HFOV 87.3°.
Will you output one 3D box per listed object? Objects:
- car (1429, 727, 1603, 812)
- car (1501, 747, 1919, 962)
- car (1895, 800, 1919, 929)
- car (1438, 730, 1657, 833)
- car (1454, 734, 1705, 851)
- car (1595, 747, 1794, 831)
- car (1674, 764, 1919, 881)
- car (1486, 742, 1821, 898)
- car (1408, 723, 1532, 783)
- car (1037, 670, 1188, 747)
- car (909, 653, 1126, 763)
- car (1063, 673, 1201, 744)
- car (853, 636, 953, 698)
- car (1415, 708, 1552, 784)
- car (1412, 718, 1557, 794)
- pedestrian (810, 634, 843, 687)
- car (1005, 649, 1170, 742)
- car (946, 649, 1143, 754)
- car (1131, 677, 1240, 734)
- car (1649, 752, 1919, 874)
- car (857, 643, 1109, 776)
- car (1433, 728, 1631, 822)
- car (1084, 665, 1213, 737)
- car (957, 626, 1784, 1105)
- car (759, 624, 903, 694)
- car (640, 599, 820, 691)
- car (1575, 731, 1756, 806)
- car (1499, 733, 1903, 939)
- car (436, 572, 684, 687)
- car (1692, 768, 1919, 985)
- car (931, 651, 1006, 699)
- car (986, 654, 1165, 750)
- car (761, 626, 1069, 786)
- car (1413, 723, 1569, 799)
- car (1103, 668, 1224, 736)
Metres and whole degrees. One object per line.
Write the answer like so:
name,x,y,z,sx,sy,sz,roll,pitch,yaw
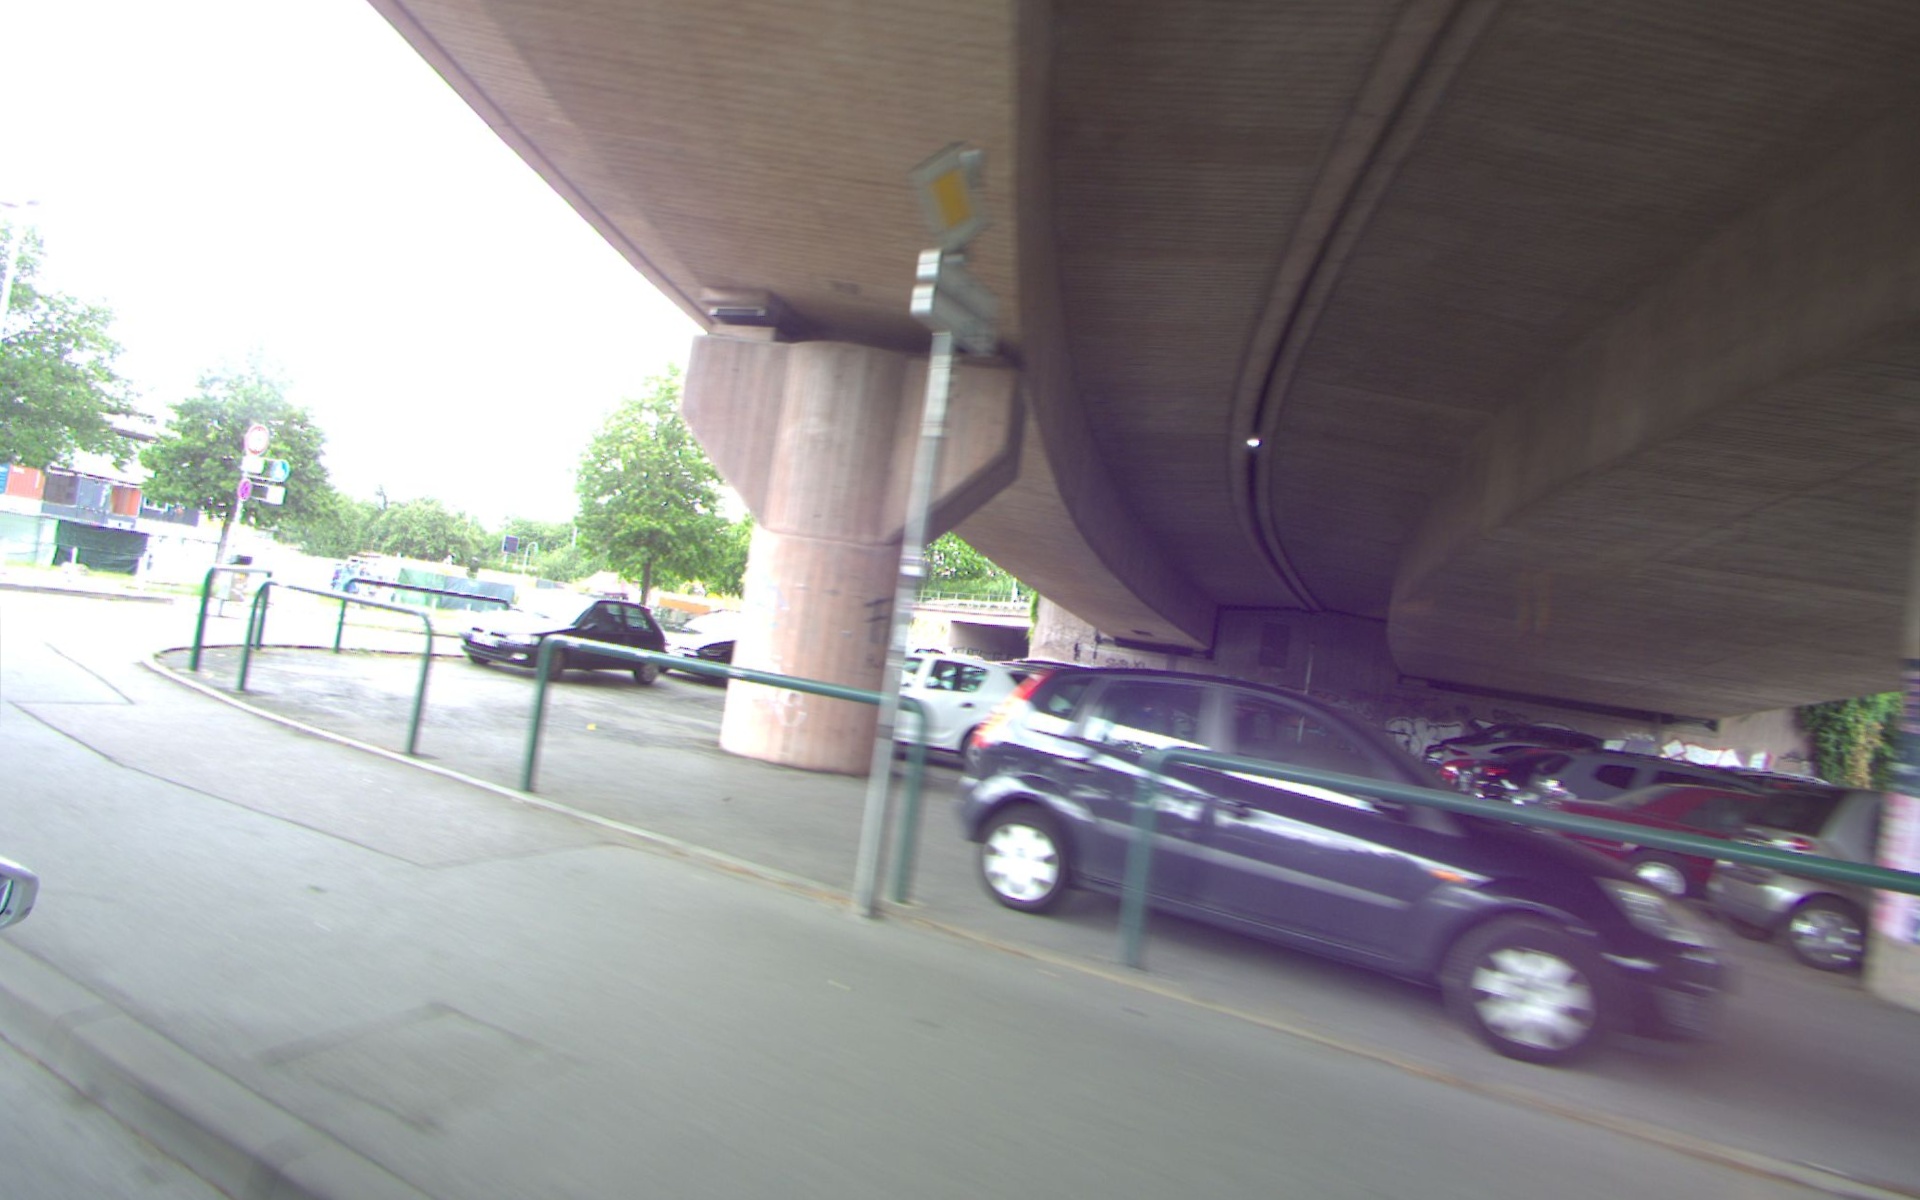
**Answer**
car,14.252,4.318,25.996,3.595,1.443,1.681,8,-2,22
car,8.661,2.776,11.316,4.302,1.485,1.840,7,-4,26
car,13.903,3.562,11.555,4.115,1.567,1.840,8,-2,22
car,12.836,3.927,22.263,3.791,1.443,1.840,8,-2,22
car,11.999,3.697,19.789,3.791,1.443,1.840,8,-2,22
car,20.878,5.346,28.808,4.115,1.482,1.840,8,-2,22
car,17.268,4.485,20.369,4.115,1.482,1.840,8,-2,22
car,10.433,3.271,15.503,3.791,1.443,1.840,8,-2,22
car,17.872,5.350,35.452,3.595,1.404,1.681,8,-2,22
car,4.239,2.961,27.757,3.789,1.450,1.761,8,-2,15
car,1.152,2.057,19.571,3.789,1.459,1.701,8,-2,15
car,5.156,3.202,30.031,3.789,1.454,1.761,8,-2,15
car,-1.658,2.124,30.960,1.587,1.552,4.076,8,-3,17
car,17.091,4.735,33.028,3.595,1.808,1.885,8,-2,22
car,15.964,4.715,30.826,3.595,1.616,1.681,8,-2,22
pedestrian,-5.137,2.327,38.738,0.723,1.928,0.826,7,-2,19
car,3.280,2.417,25.702,3.789,1.713,1.761,8,-2,15
car,1.840,2.139,21.543,3.789,1.573,1.701,8,-2,15
car,8.597,3.994,38.364,3.789,1.495,1.761,8,-2,15
car,18.737,4.730,22.489,5.012,1.696,2.093,8,-2,22
car,0.426,1.796,16.949,3.789,1.526,1.701,8,-2,15
car,13.596,4.132,24.174,3.791,1.443,1.681,8,-2,22
car,6.062,3.216,32.237,3.789,1.656,1.761,8,-2,15
car,1.975,1.143,5.441,3.520,1.411,1.611,7,-4,32
car,-3.208,1.586,25.960,1.739,1.335,4.381,8,-3,20
car,-4.699,1.024,21.248,1.482,1.435,4.255,9,-3,20
car,21.636,5.142,31.063,4.115,1.482,1.840,8,-2,22
car,9.493,2.959,13.313,3.791,1.717,1.840,8,-2,22
car,-6.375,0.560,16.470,1.482,1.344,3.704,10,-2,22
car,8.581,2.516,8.628,3.313,1.515,1.534,8,-4,22
car,0.361,2.811,37.377,1.550,1.455,3.382,8,-3,21
car,2.751,2.369,23.680,3.789,1.573,1.761,8,-2,15
car,-0.618,1.464,14.421,3.936,1.569,1.641,7,-2,19
car,14.965,4.514,28.539,3.595,1.443,1.681,8,-2,22
car,6.976,3.455,34.375,3.789,1.656,1.761,8,-2,15
